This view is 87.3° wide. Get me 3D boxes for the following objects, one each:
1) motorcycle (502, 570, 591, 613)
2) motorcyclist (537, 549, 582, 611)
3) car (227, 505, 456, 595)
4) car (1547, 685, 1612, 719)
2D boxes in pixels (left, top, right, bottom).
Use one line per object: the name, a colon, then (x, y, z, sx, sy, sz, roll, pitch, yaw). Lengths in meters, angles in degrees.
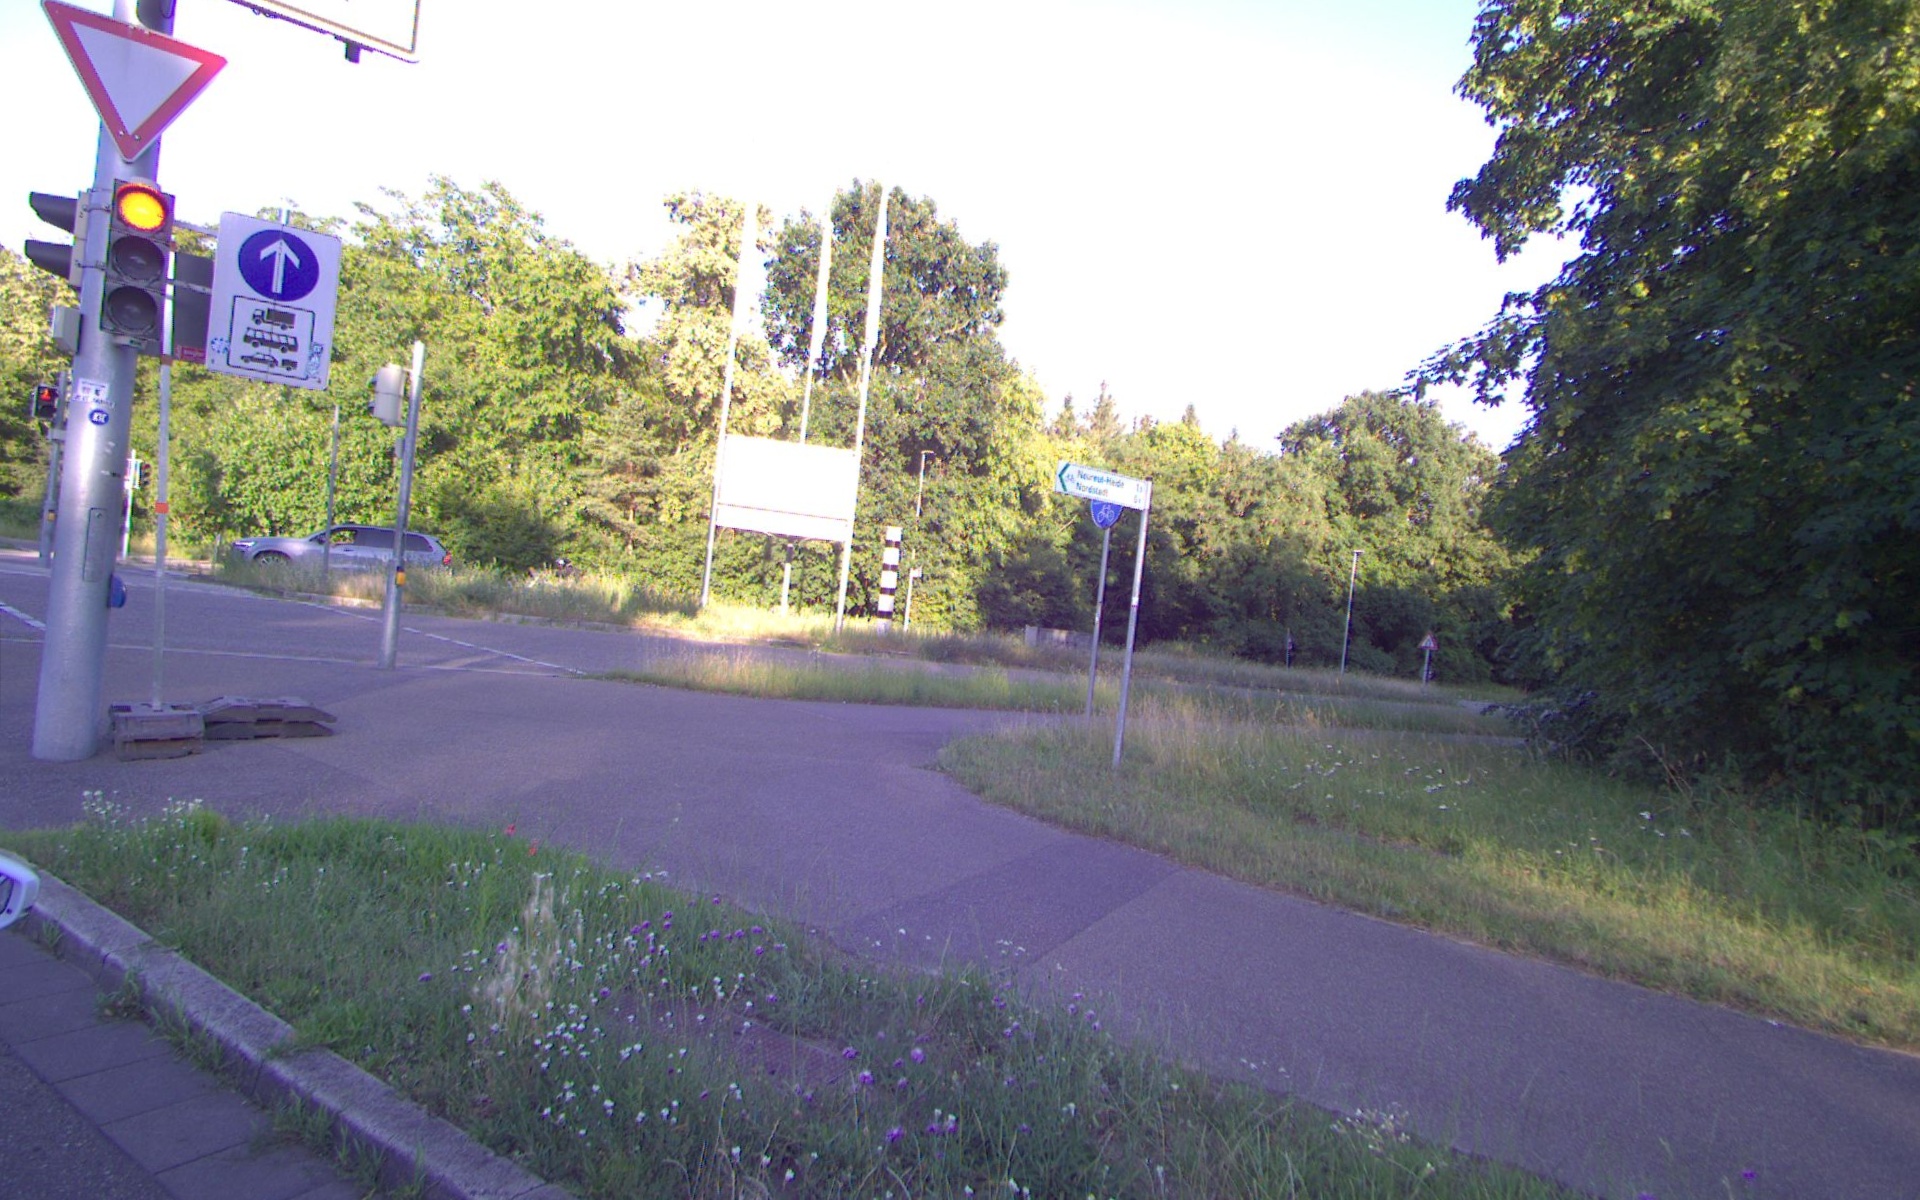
motorcycle: (-11.494, -0.235, 28.026, 2.133, 0.921, 0.655, 7, 0, -37)
motorcyclist: (-11.225, -0.546, 28.193, 0.881, 1.614, 0.648, 6, 0, -37)
car: (-15.915, -1.250, 25.995, 4.790, 1.618, 1.980, 7, 0, -37)
car: (35.670, 5.894, 57.903, 3.840, 1.507, 1.754, 8, -1, -36)
